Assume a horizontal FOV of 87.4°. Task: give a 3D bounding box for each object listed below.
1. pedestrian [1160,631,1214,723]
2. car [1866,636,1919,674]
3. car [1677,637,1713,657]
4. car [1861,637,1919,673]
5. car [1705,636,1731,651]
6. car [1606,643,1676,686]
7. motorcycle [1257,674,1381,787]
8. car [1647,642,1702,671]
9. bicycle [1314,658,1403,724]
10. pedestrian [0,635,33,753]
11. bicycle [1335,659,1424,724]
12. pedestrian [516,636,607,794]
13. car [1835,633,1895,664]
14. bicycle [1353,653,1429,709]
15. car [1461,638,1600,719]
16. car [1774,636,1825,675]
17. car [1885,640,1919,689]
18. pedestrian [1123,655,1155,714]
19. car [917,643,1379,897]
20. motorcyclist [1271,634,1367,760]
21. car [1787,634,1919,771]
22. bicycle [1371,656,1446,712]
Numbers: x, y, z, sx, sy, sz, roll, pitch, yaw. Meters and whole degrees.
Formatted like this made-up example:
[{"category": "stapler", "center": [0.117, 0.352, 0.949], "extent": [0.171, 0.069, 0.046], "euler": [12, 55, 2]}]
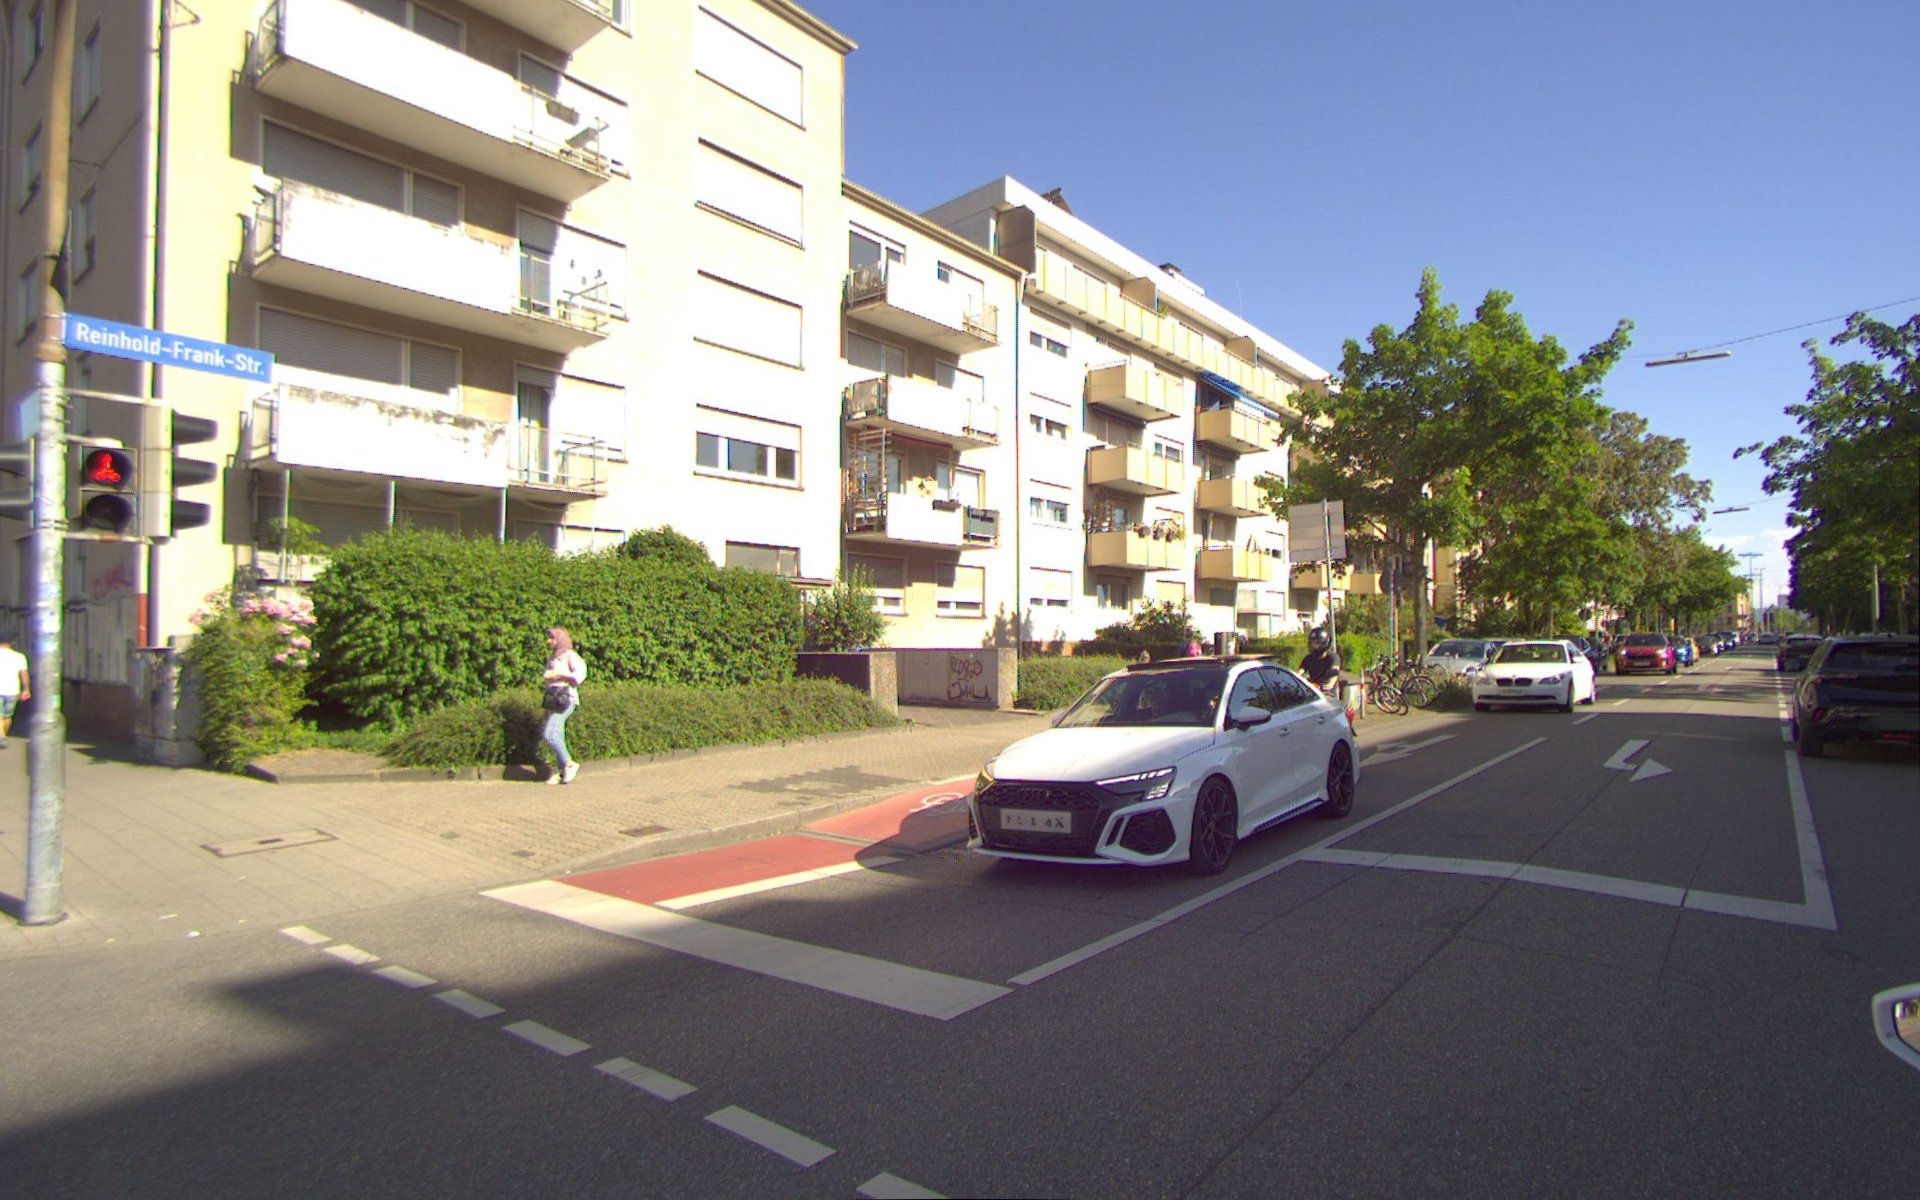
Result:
[{"category": "pedestrian", "center": [4.334, 1.444, 19.142], "extent": [0.962, 1.705, 0.567], "euler": [2, -3, -44]}, {"category": "car", "center": [38.195, 2.196, 40.667], "extent": [1.887, 1.448, 3.983], "euler": [-5, -5, 38]}, {"category": "car", "center": [55.174, 3.485, 75.379], "extent": [1.789, 1.406, 4.228], "euler": [-5, -5, 40]}, {"category": "car", "center": [41.475, 2.426, 44.556], "extent": [1.887, 1.448, 3.983], "euler": [-5, -5, 38]}, {"category": "car", "center": [74.674, 4.288, 98.942], "extent": [1.789, 1.406, 4.228], "euler": [-5, -5, 40]}, {"category": "car", "center": [26.984, 2.517, 39.759], "extent": [1.789, 1.578, 4.228], "euler": [-5, -5, 40]}, {"category": "motorcycle", "center": [4.157, 1.459, 11.578], "extent": [0.739, 1.149, 1.675], "euler": [-4, -5, 42]}, {"category": "car", "center": [35.571, 2.802, 49.967], "extent": [1.789, 1.299, 4.228], "euler": [-5, -5, 40]}, {"category": "bicycle", "center": [7.940, 1.801, 20.067], "extent": [0.443, 1.175, 1.568], "euler": [-15, 5, -27]}, {"category": "pedestrian", "center": [-14.155, 1.379, 14.833], "extent": [0.659, 1.711, 0.572], "euler": [-2, -2, 39]}, {"category": "bicycle", "center": [8.474, 1.827, 20.333], "extent": [0.443, 1.175, 1.568], "euler": [-15, 5, -27]}, {"category": "pedestrian", "center": [-4.269, 1.197, 10.772], "extent": [0.685, 1.617, 0.645], "euler": [-2, -3, 37]}, {"category": "car", "center": [44.769, 2.400, 49.759], "extent": [1.887, 1.448, 3.983], "euler": [-5, -5, 38]}, {"category": "bicycle", "center": [9.715, 1.810, 22.693], "extent": [0.443, 1.175, 1.568], "euler": [10, -7, -27]}, {"category": "car", "center": [12.484, 1.655, 21.856], "extent": [1.789, 1.578, 4.228], "euler": [-5, -5, 40]}, {"category": "car", "center": [35.858, 2.363, 42.875], "extent": [1.574, 1.586, 4.069], "euler": [-1, -3, 41]}, {"category": "car", "center": [30.275, 1.964, 31.190], "extent": [1.887, 1.448, 3.983], "euler": [-5, -5, 38]}, {"category": "pedestrian", "center": [3.605, 1.695, 20.205], "extent": [0.528, 1.161, 0.382], "euler": [2, -3, -43]}, {"category": "car", "center": [1.777, 1.158, 8.217], "extent": [1.905, 1.454, 4.250], "euler": [-6, -5, 38]}, {"category": "motorcyclist", "center": [4.142, 1.098, 11.585], "extent": [0.747, 1.373, 0.788], "euler": [-4, -4, 42]}, {"category": "car", "center": [12.128, 1.245, 13.287], "extent": [1.741, 1.579, 3.983], "euler": [-1, -3, 39]}, {"category": "bicycle", "center": [10.180, 1.890, 22.845], "extent": [0.443, 1.175, 1.568], "euler": [10, -7, -27]}]
